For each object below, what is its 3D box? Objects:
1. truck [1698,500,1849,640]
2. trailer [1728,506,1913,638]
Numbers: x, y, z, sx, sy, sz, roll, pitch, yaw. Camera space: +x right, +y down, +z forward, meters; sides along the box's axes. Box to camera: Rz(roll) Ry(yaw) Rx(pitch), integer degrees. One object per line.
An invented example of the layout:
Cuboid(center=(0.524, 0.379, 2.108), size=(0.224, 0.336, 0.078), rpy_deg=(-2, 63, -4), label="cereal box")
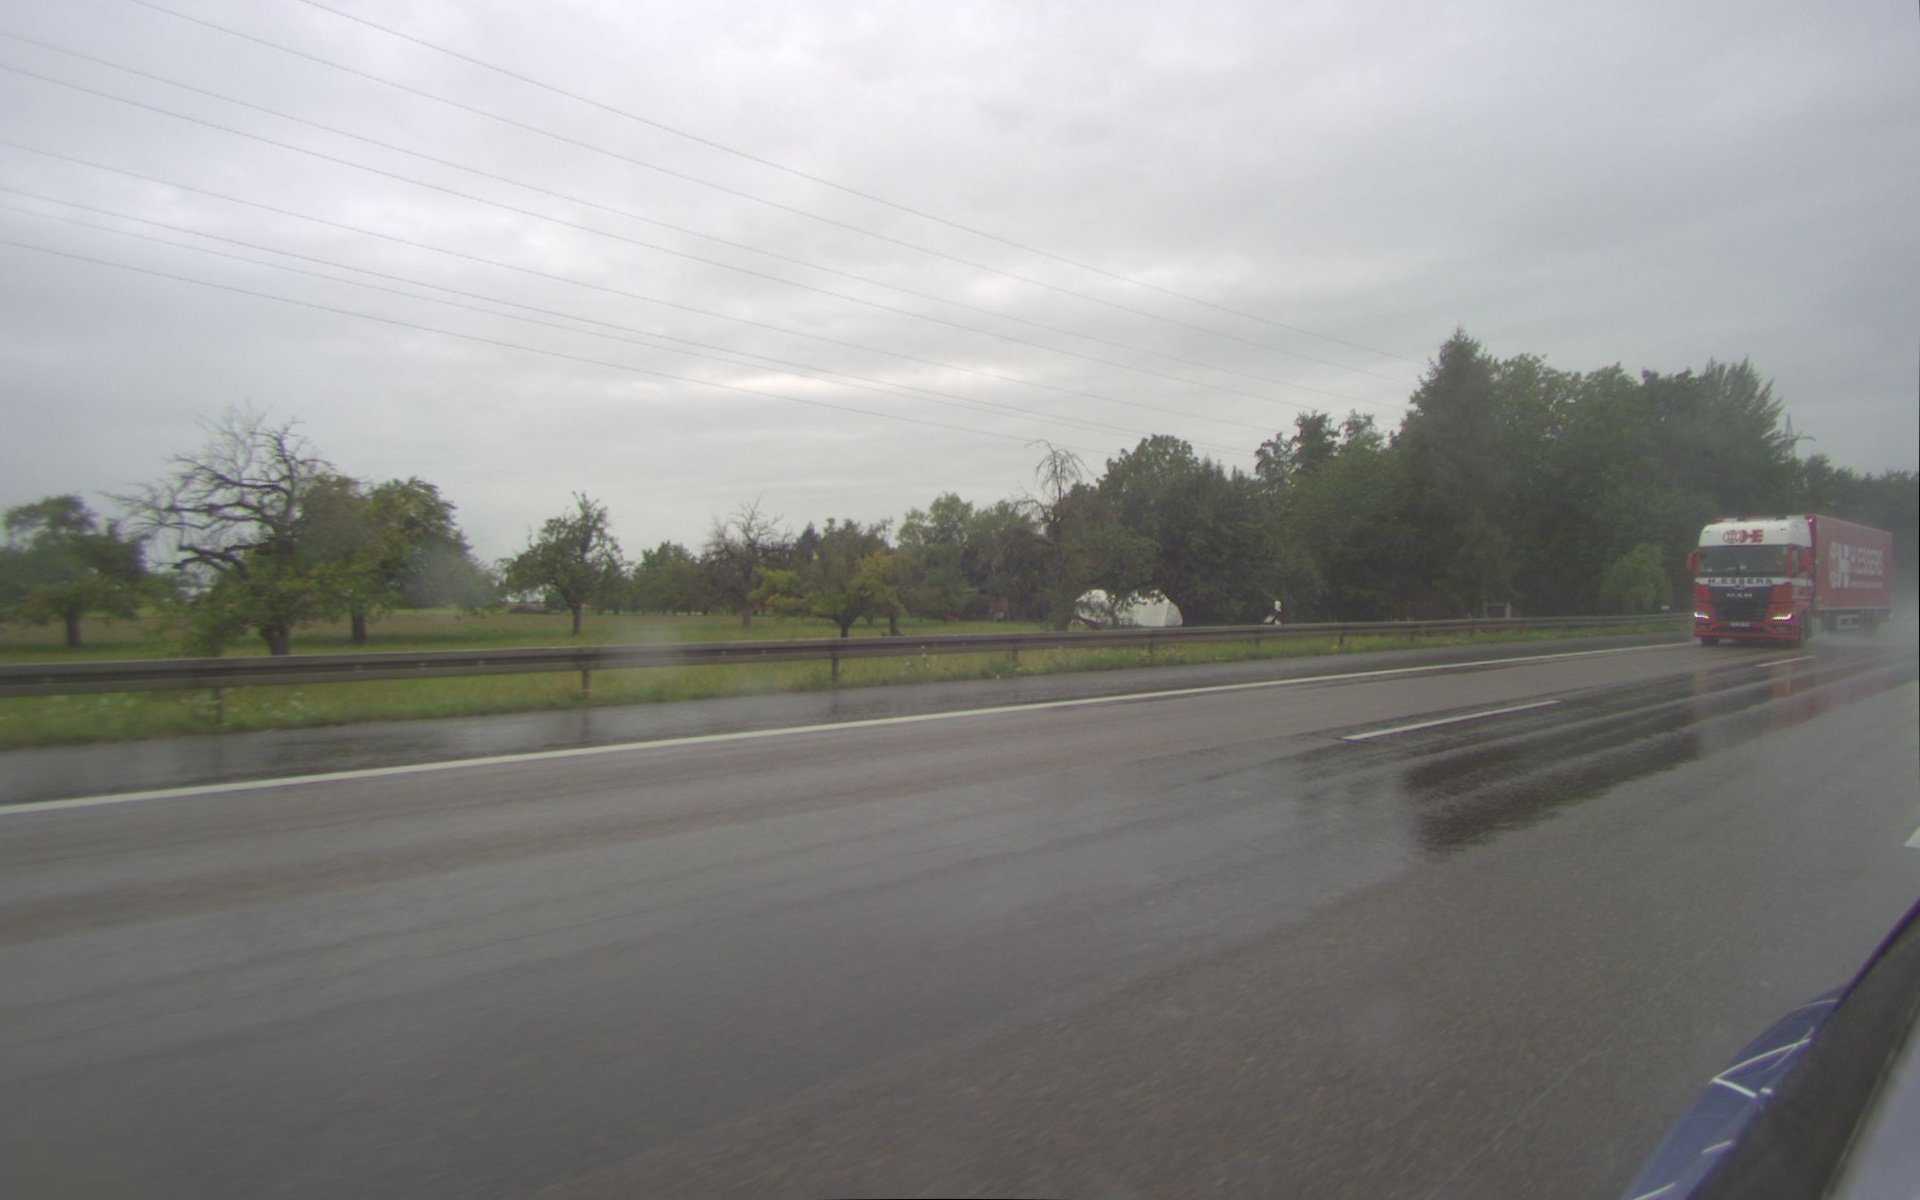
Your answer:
Cuboid(center=(25.416, -0.886, 31.560), size=(5.335, 4.005, 2.626), rpy_deg=(0, 0, -39), label="truck")
Cuboid(center=(30.953, -0.916, 36.075), size=(13.385, 4.005, 2.626), rpy_deg=(-1, 1, -39), label="trailer")
